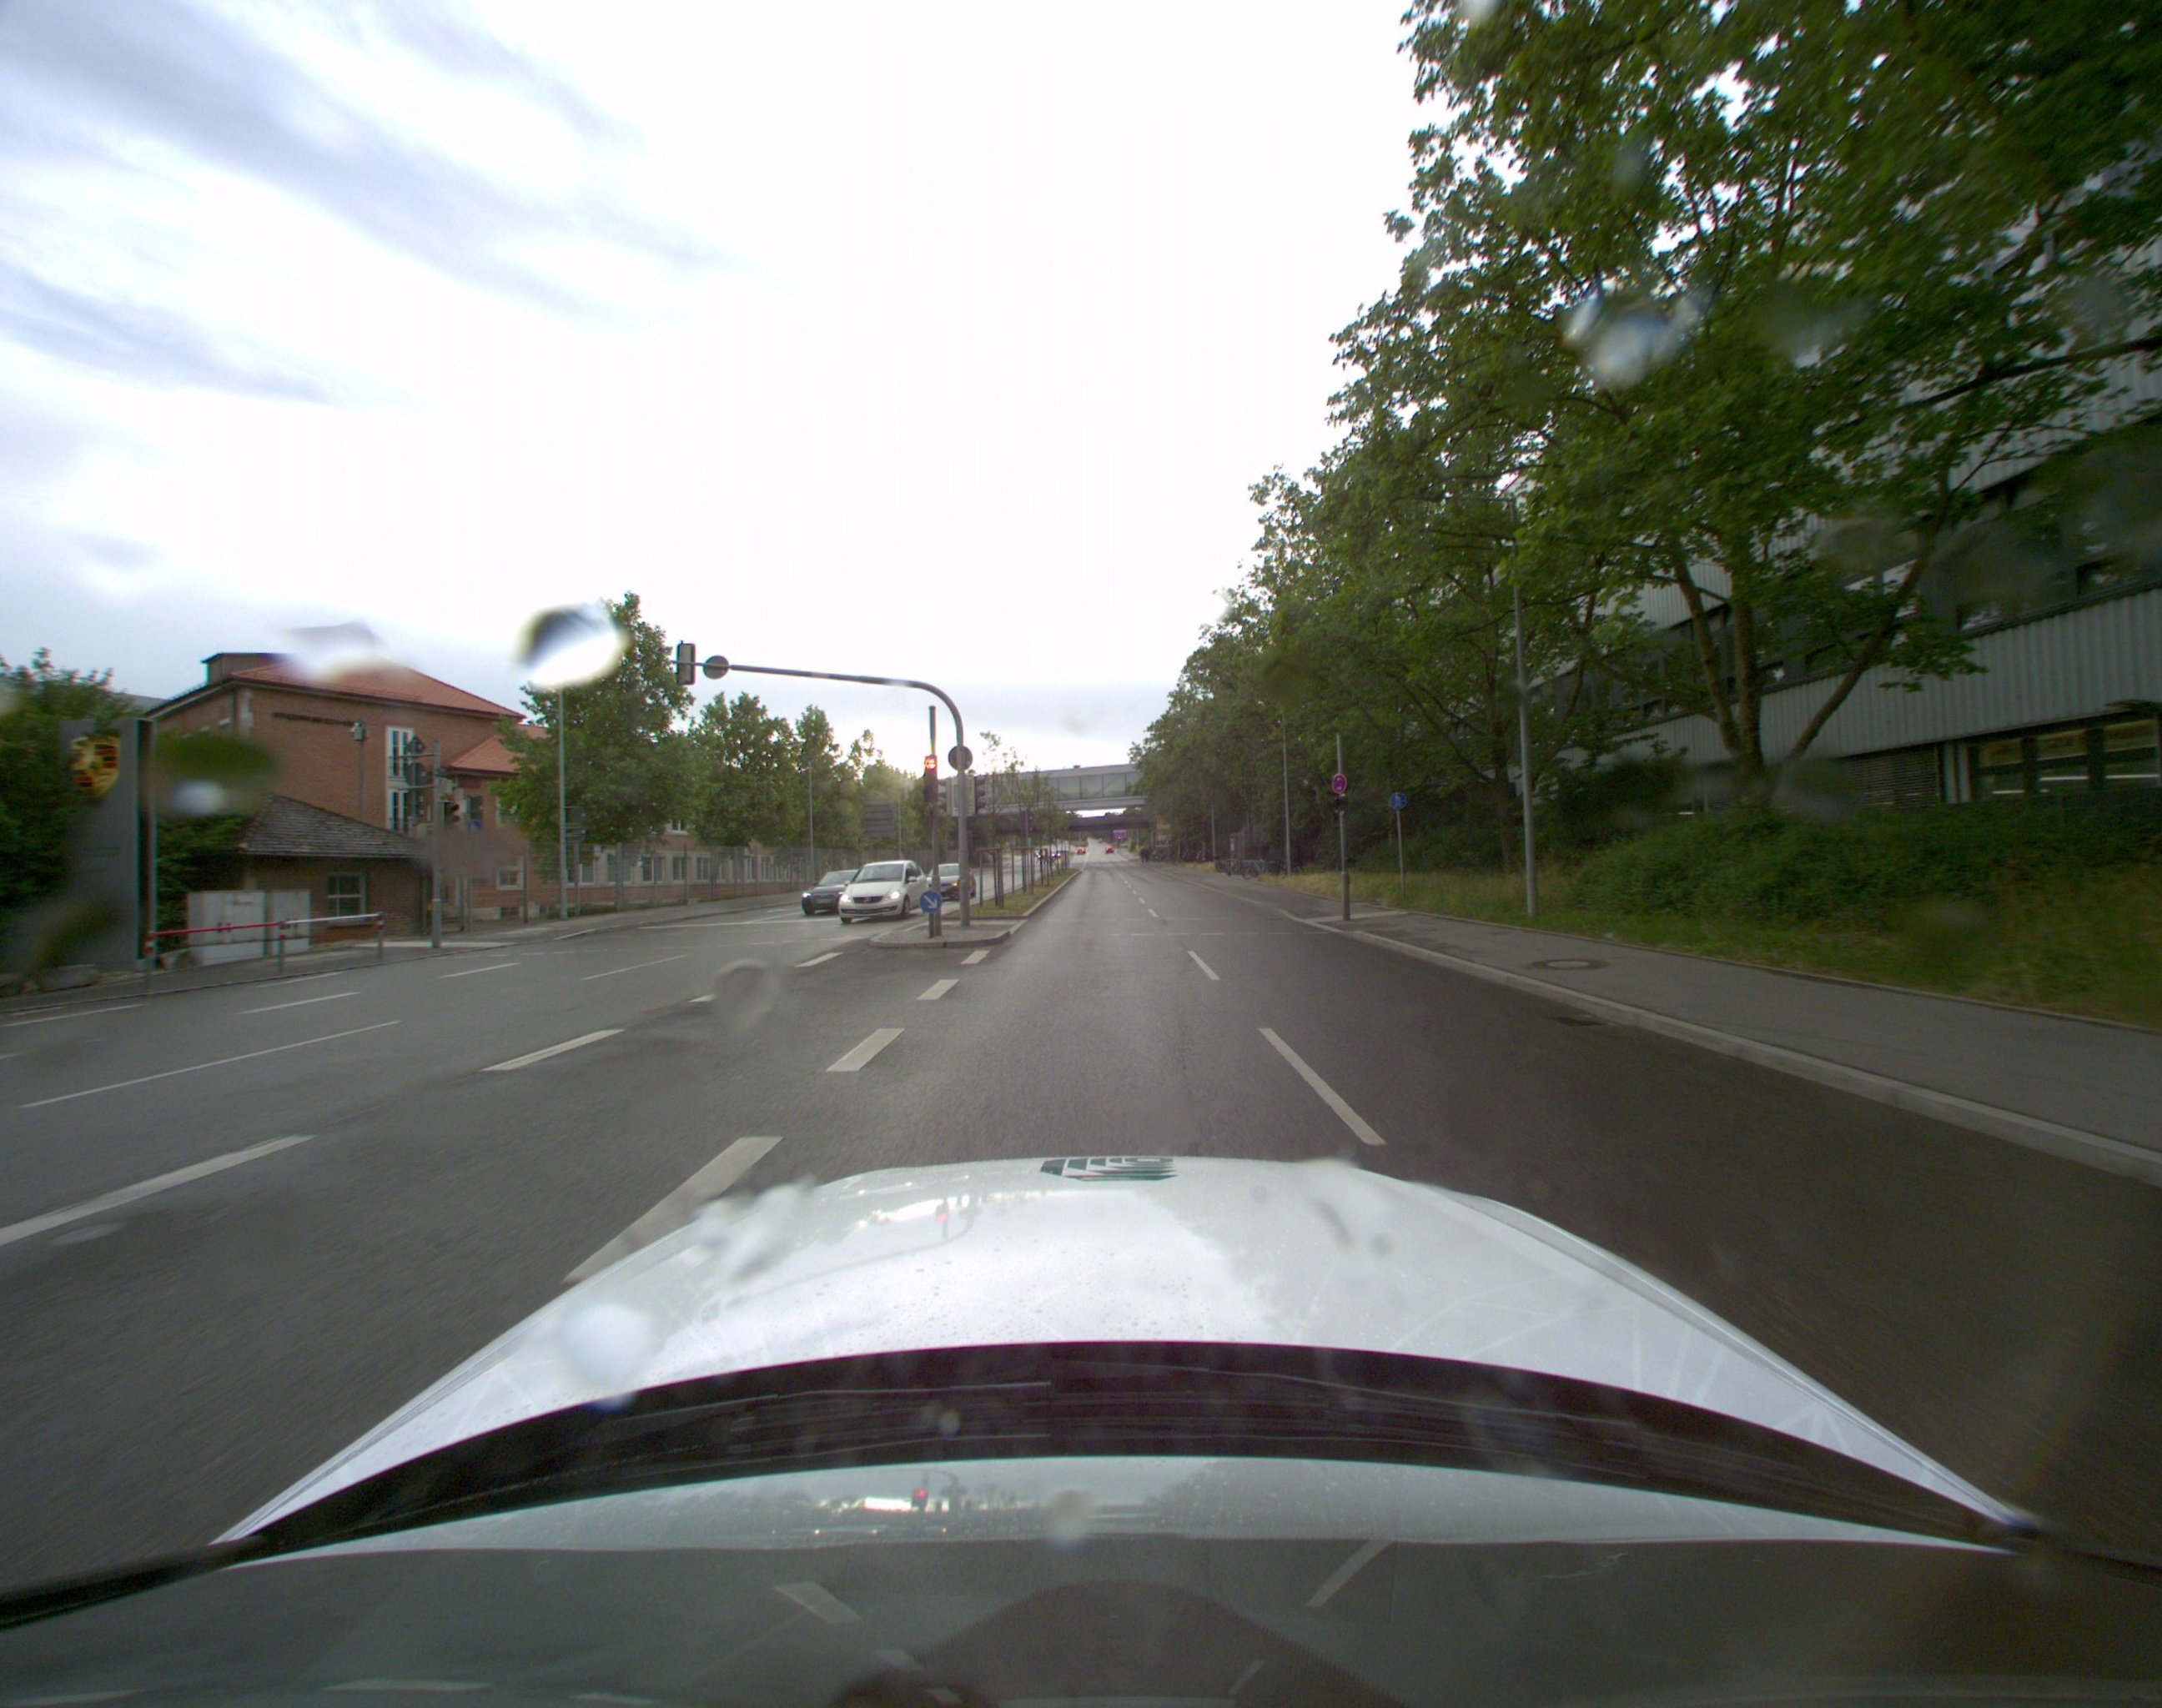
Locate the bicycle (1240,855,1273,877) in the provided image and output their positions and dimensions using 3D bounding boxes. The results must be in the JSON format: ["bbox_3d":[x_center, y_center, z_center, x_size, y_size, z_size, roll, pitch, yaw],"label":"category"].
[{"bbox_3d":[8.853,0.607,41.059,1.546,1.005,0.393,-3,0,0],"label":"bicycle"}]

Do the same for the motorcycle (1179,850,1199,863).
[{"bbox_3d":[10.908,0.251,82.208,1.851,1.191,0.519,-2,0,-15],"label":"motorcycle"}]

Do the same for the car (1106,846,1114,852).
[{"bbox_3d":[6.751,-1.153,188.218,1.739,1.470,4.166,-1,1,0],"label":"car"}]

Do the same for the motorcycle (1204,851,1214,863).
[{"bbox_3d":[14.406,0.303,91.720,0.345,1.279,2.084,-2,0,29],"label":"motorcycle"}]

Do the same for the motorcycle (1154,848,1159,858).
[{"bbox_3d":[9.896,-0.122,106.643,0.467,1.213,1.947,-3,0,4],"label":"motorcycle"}]

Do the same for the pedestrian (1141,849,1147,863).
[{"bbox_3d":[8.024,0.216,104.247,0.607,1.721,0.894,-3,0,11],"label":"pedestrian"}]

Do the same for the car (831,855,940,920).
[{"bbox_3d":[-5.429,0.890,23.228,1.764,1.589,4.488,-3,-1,3],"label":"car"}]

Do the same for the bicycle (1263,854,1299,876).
[{"bbox_3d":[9.633,0.529,39.253,1.602,0.939,0.387,-3,-1,0],"label":"bicycle"}]

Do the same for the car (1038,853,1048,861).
[{"bbox_3d":[-7.335,0.498,157.321,1.710,1.437,3.771,-4,0,0],"label":"car"}]

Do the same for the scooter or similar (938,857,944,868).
[{"bbox_3d":[-16.137,1.028,93.995,0.310,1.218,1.310,-3,0,6],"label":"scooter or similar"}]

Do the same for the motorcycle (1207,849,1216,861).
[{"bbox_3d":[13.968,0.119,87.148,0.643,1.279,1.991,-2,0,1],"label":"motorcycle"}]

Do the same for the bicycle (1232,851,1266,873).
[{"bbox_3d":[9.753,0.454,47.283,1.785,1.167,0.447,-3,0,-6],"label":"bicycle"}]

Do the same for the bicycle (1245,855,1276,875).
[{"bbox_3d":[9.711,0.605,44.040,1.546,1.005,0.393,-3,0,0],"label":"bicycle"}]

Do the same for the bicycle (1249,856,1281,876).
[{"bbox_3d":[9.693,0.632,42.978,1.546,0.958,0.393,-3,0,0],"label":"bicycle"}]

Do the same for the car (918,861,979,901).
[{"bbox_3d":[-5.163,1.012,32.271,1.572,1.404,4.112,-3,0,1],"label":"car"}]

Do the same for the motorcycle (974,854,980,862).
[{"bbox_3d":[-15.951,0.668,124.641,0.466,1.158,1.934,-3,1,4],"label":"motorcycle"}]

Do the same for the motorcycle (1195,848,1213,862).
[{"bbox_3d":[10.921,0.092,72.259,1.643,1.150,0.494,0,-1,8],"label":"motorcycle"}]

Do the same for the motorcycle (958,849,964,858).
[{"bbox_3d":[-16.476,-0.086,111.970,0.467,1.205,1.997,-3,1,1],"label":"motorcycle"}]

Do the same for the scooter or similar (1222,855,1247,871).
[{"bbox_3d":[9.679,0.554,51.354,1.476,0.937,0.364,-3,0,-17],"label":"scooter or similar"}]

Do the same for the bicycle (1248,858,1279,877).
[{"bbox_3d":[9.706,0.704,43.376,1.546,0.958,0.393,-3,0,0],"label":"bicycle"}]

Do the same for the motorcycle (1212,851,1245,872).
[{"bbox_3d":[9.563,0.461,52.723,1.995,1.273,0.443,-3,0,13],"label":"motorcycle"}]

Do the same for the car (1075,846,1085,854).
[{"bbox_3d":[-0.254,-0.883,188.661,2.070,1.718,4.196,0,-1,-1],"label":"car"}]

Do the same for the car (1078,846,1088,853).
[{"bbox_3d":[0.504,-1.080,199.498,2.158,1.582,4.665,0,0,1],"label":"car"}]

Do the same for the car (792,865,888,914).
[{"bbox_3d":[-8.220,1.167,28.227,1.767,1.404,4.616,-3,0,1],"label":"car"}]

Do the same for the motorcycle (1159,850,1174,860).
[{"bbox_3d":[11.100,0.157,105.414,1.920,1.297,0.551,-3,0,43],"label":"motorcycle"}]

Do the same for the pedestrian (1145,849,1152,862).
[{"bbox_3d":[8.629,0.183,104.101,0.646,1.596,0.580,-3,0,12],"label":"pedestrian"}]

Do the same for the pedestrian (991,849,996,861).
[{"bbox_3d":[-13.889,0.198,128.829,0.516,1.816,0.802,-1,0,11],"label":"pedestrian"}]

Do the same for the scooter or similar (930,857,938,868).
[{"bbox_3d":[-16.339,0.939,90.668,0.309,1.218,1.312,-2,0,13],"label":"scooter or similar"}]

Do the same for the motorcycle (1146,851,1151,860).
[{"bbox_3d":[8.597,0.233,104.175,0.468,1.136,1.819,-3,0,1],"label":"motorcycle"}]

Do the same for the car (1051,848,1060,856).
[{"bbox_3d":[-5.168,-0.404,164.758,1.579,1.605,3.856,-4,0,1],"label":"car"}]

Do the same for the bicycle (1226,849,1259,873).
[{"bbox_3d":[9.709,0.400,49.070,1.859,1.348,0.446,-3,0,-12],"label":"bicycle"}]

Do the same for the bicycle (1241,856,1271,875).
[{"bbox_3d":[9.647,0.627,44.860,1.546,1.005,0.393,-3,0,0],"label":"bicycle"}]

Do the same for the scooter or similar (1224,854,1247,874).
[{"bbox_3d":[8.716,0.570,45.985,1.210,1.091,0.312,-3,0,-4],"label":"scooter or similar"}]

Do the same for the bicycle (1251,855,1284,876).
[{"bbox_3d":[9.616,0.569,42.057,1.546,1.005,0.393,-3,0,0],"label":"bicycle"}]
